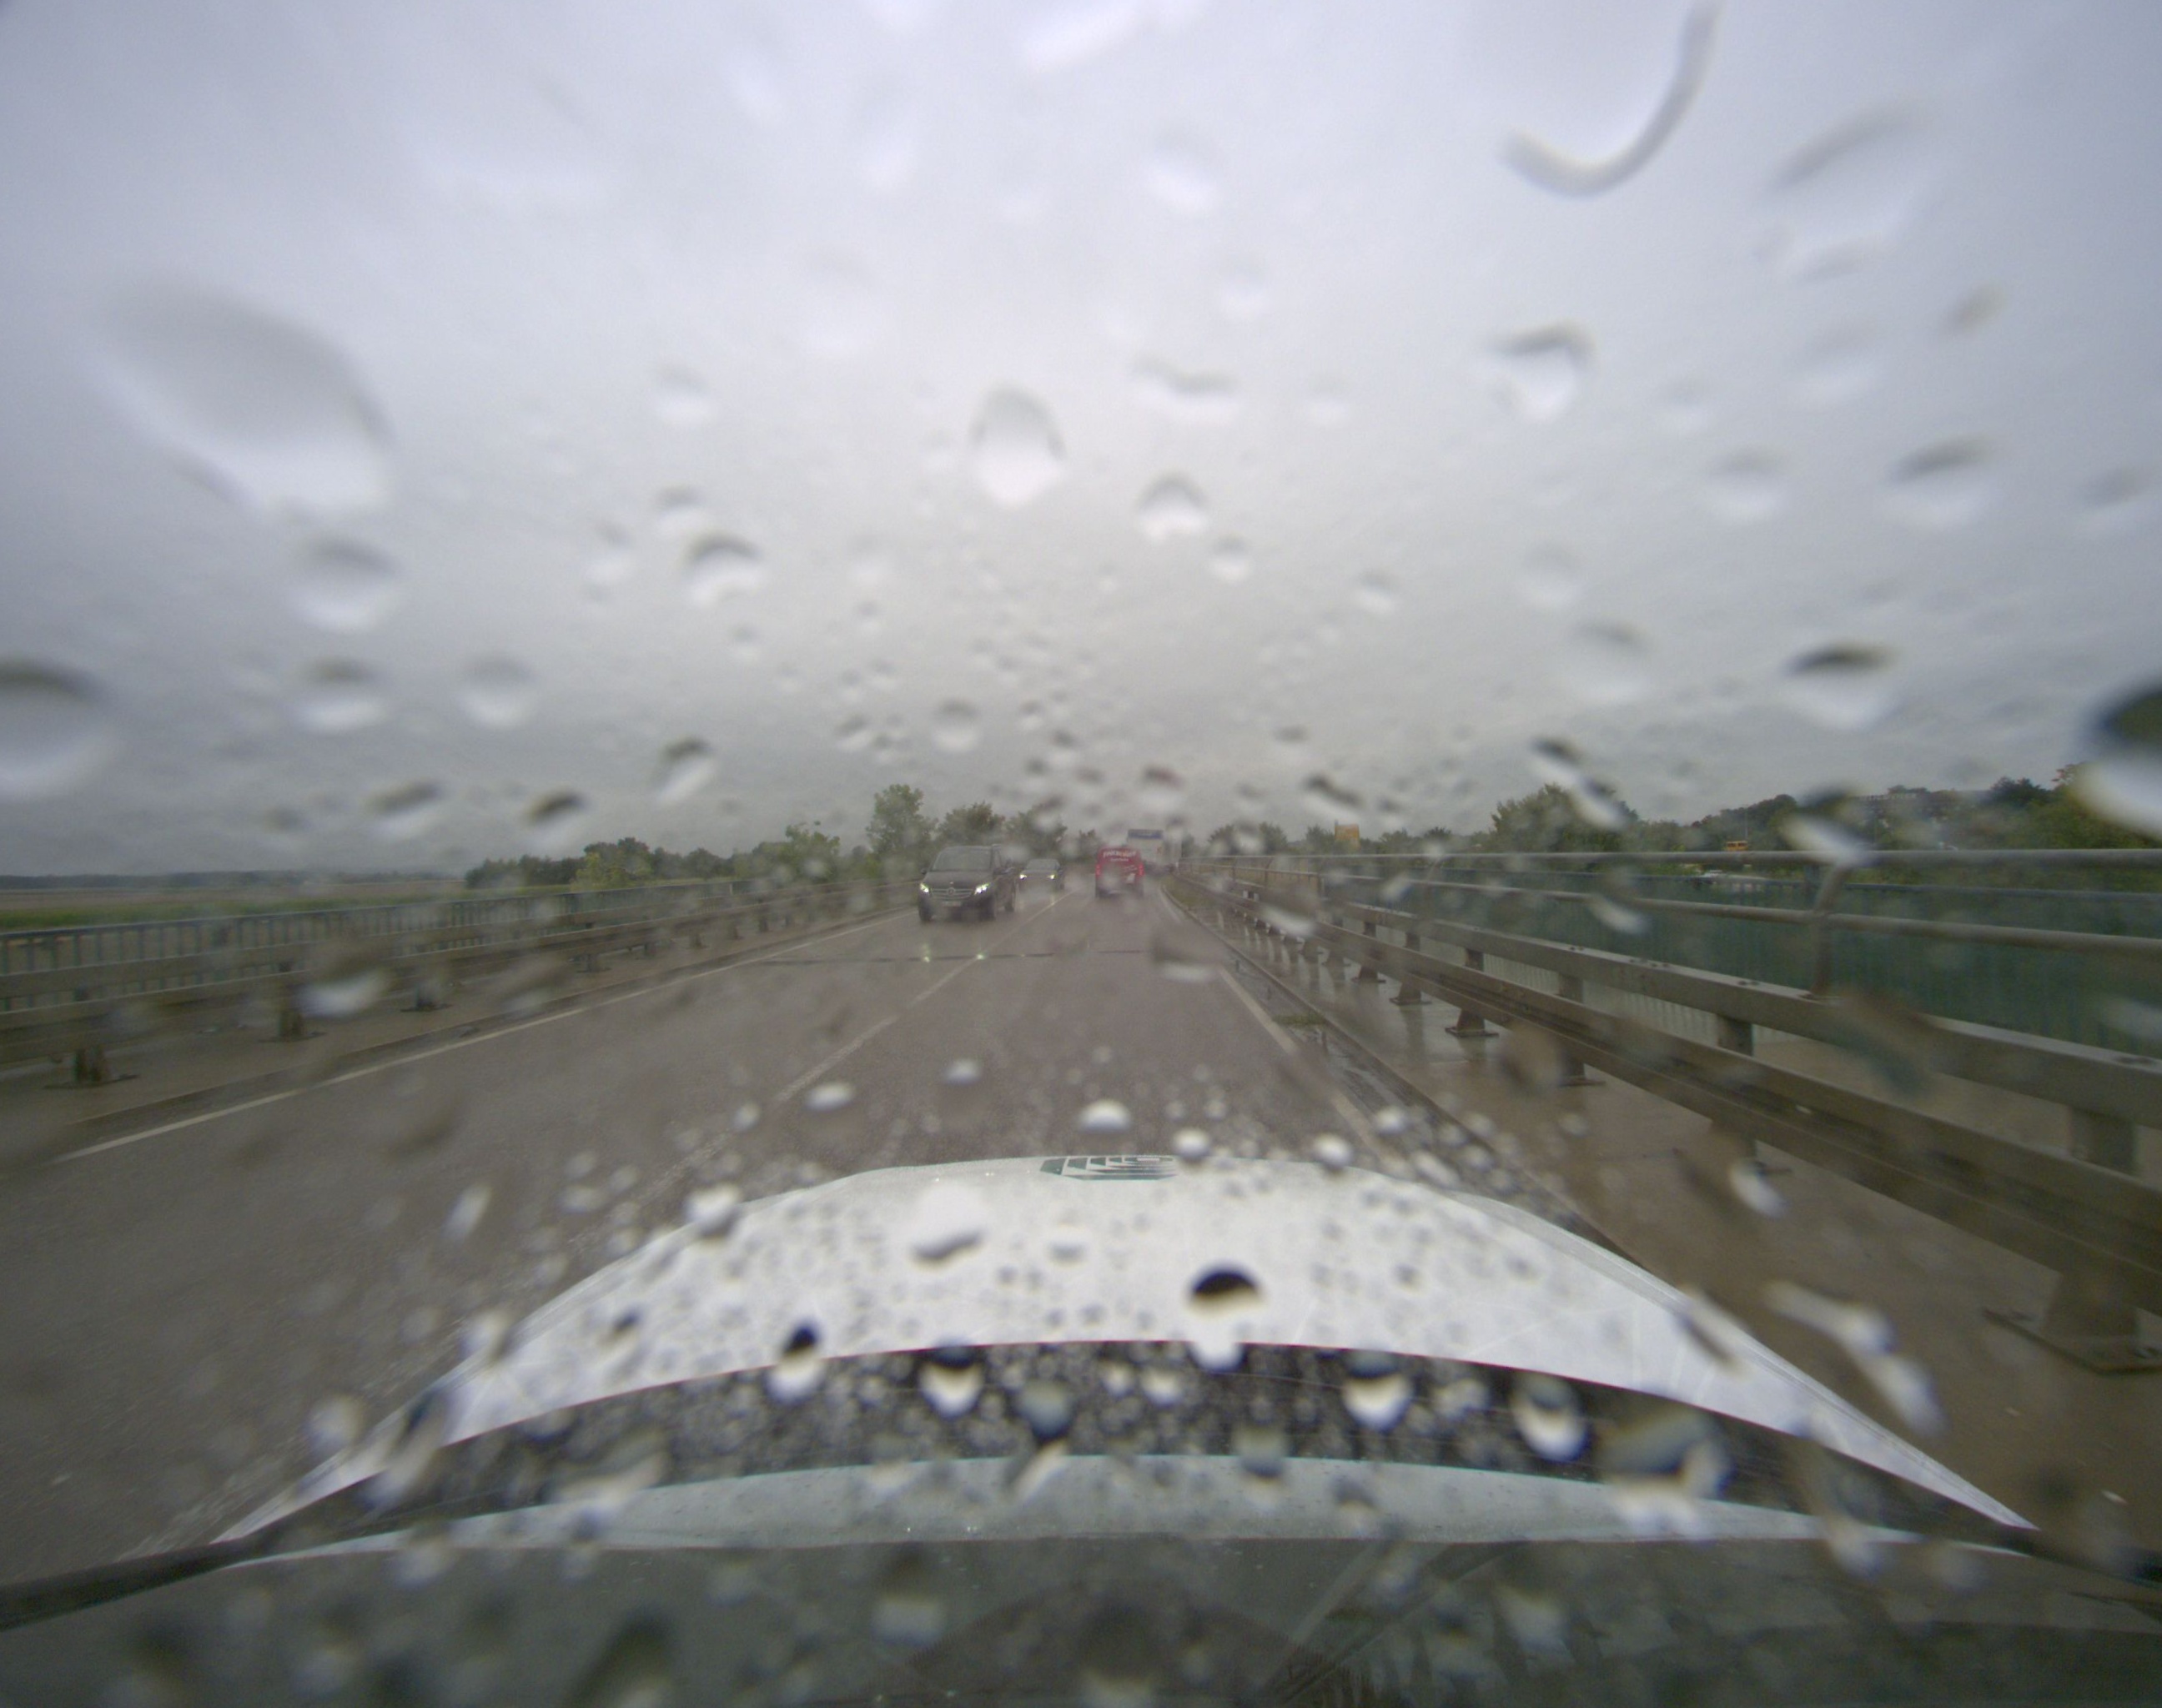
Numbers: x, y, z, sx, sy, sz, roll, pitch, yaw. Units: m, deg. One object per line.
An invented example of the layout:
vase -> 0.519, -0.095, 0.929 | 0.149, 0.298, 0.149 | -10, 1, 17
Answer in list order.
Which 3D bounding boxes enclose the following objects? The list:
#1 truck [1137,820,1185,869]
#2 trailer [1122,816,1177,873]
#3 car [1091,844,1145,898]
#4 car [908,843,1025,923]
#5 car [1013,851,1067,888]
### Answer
truck -> 7.020, -0.761, 70.378 | 3.181, 3.921, 8.766 | 2, 0, 11
trailer -> 5.332, -0.697, 61.741 | 3.181, 3.921, 8.766 | 2, 0, 11
car -> 1.447, 0.620, 32.176 | 1.986, 1.925, 4.146 | 0, 1, 2
car -> -2.864, 0.662, 21.668 | 2.057, 1.837, 4.936 | -2, 0, 4
car -> -1.804, 0.651, 37.396 | 1.829, 1.537, 4.076 | -2, 0, 6
